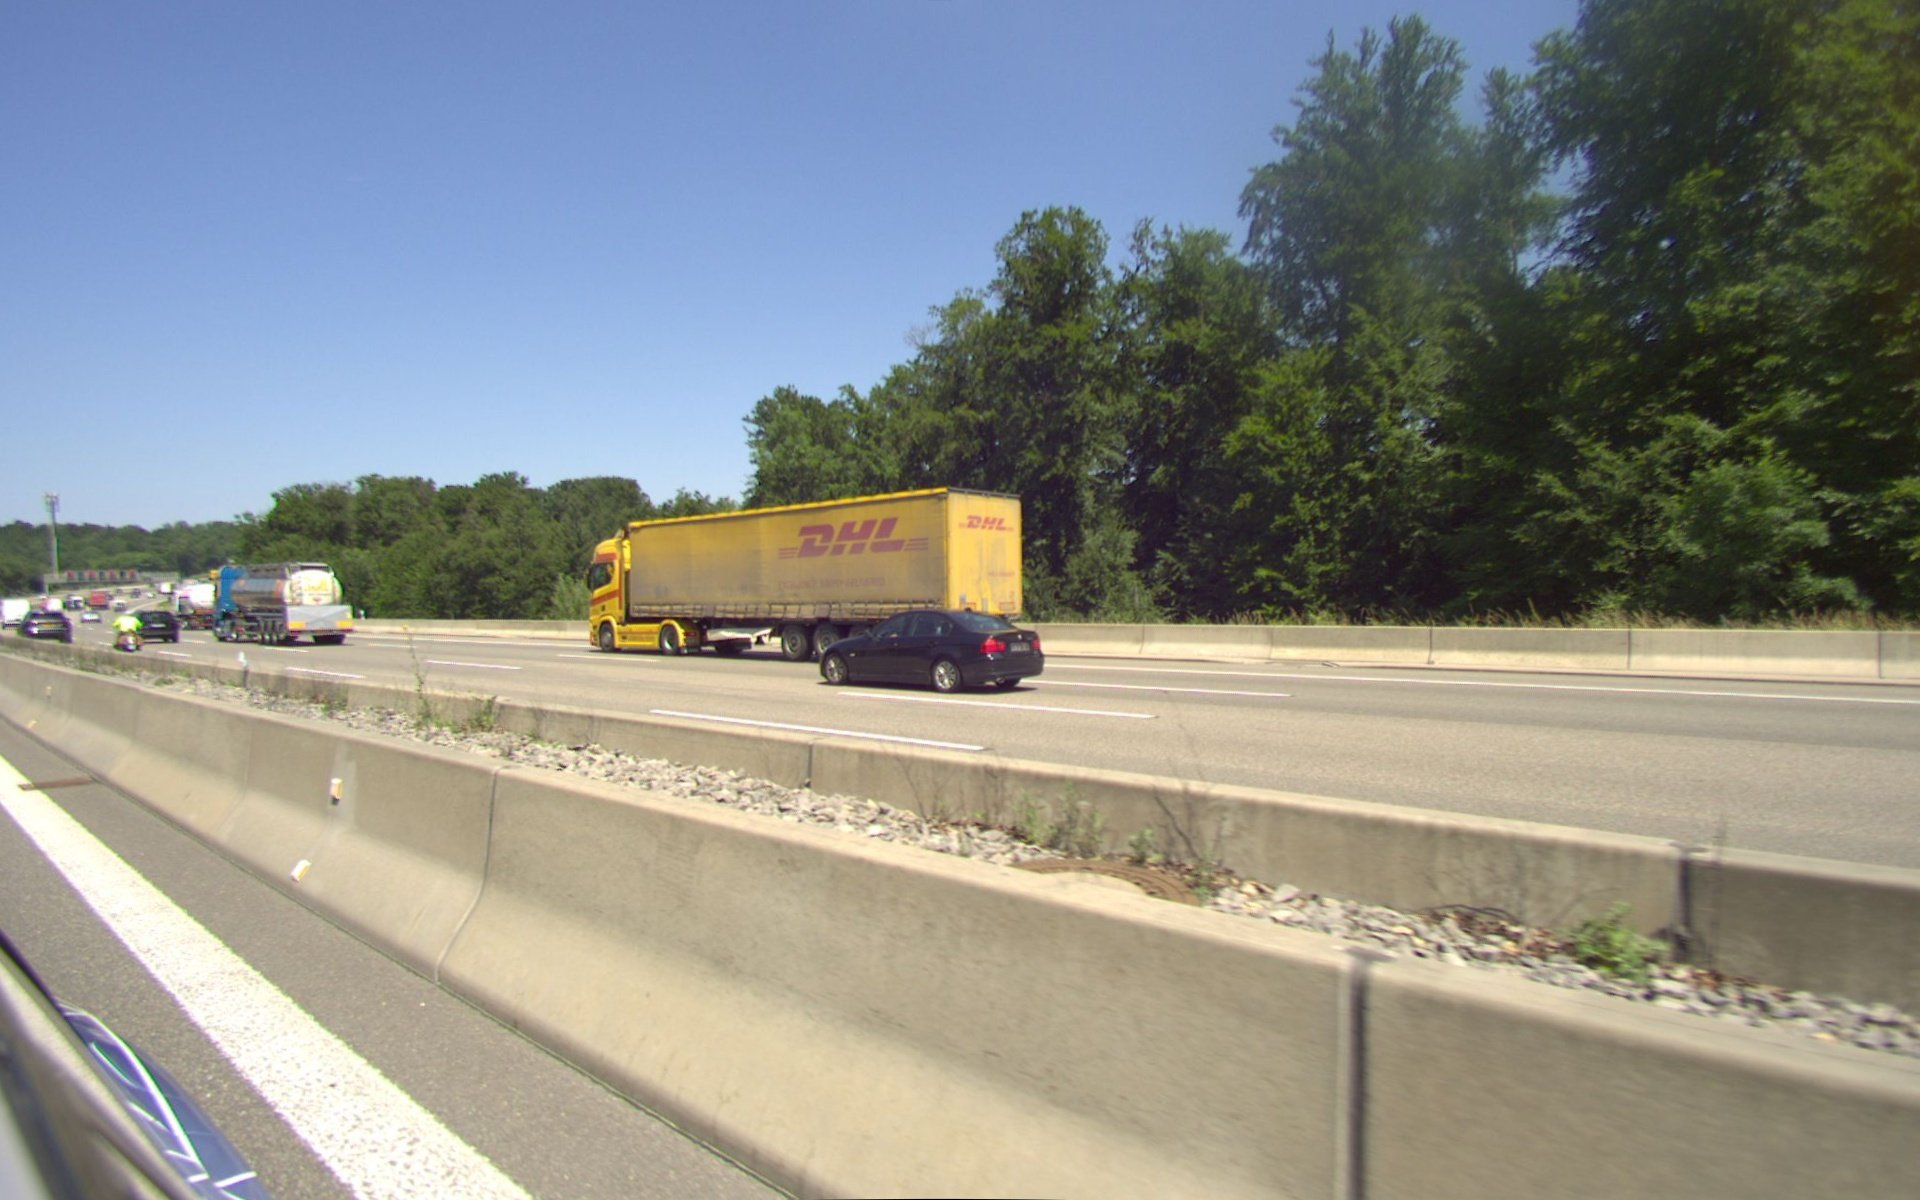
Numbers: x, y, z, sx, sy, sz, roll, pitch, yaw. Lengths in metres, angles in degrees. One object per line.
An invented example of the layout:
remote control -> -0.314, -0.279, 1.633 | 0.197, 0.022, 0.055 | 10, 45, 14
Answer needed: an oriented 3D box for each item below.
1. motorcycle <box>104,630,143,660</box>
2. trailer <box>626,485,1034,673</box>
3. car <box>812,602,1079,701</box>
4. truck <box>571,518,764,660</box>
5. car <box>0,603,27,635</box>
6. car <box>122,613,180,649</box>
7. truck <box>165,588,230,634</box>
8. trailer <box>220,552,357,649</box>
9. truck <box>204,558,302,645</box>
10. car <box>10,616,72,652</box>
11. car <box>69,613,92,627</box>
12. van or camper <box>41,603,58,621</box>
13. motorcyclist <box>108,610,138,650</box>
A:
motorcycle -> -29.444, 1.567, 35.613 | 2.527, 1.021, 0.719 | -1, -1, 43
trailer -> -4.247, -0.357, 27.430 | 13.721, 4.035, 2.694 | -1, -1, 42
car -> -0.370, 0.821, 17.703 | 4.580, 1.494, 1.972 | -1, -1, 43
truck -> -9.399, -0.273, 32.076 | 6.750, 4.048, 2.721 | -1, -1, 42
car -> -85.173, 1.762, 90.386 | 6.307, 2.709, 2.075 | -2, 0, 42
car -> -39.786, 1.498, 49.750 | 4.060, 1.656, 1.701 | -1, -1, 43
truck -> -62.390, 0.865, 82.682 | 9.883, 3.492, 2.581 | -1, 1, 44
trailer -> -30.733, 0.096, 45.978 | 11.694, 3.910, 2.510 | -1, -1, 43
truck -> -34.802, 0.116, 49.700 | 6.800, 3.970, 2.504 | -1, -1, 42
car -> -46.089, 1.667, 50.714 | 4.954, 1.718, 1.971 | -1, -1, 44
car -> -103.839, 2.348, 119.476 | 4.496, 1.493, 1.743 | -1, 1, 45
van or camper -> -147.492, 1.982, 163.876 | 1.970, 2.821, 7.422 | 0, -1, -43
motorcyclist -> -29.442, 1.047, 35.596 | 0.905, 1.371, 0.720 | -1, -1, 42
